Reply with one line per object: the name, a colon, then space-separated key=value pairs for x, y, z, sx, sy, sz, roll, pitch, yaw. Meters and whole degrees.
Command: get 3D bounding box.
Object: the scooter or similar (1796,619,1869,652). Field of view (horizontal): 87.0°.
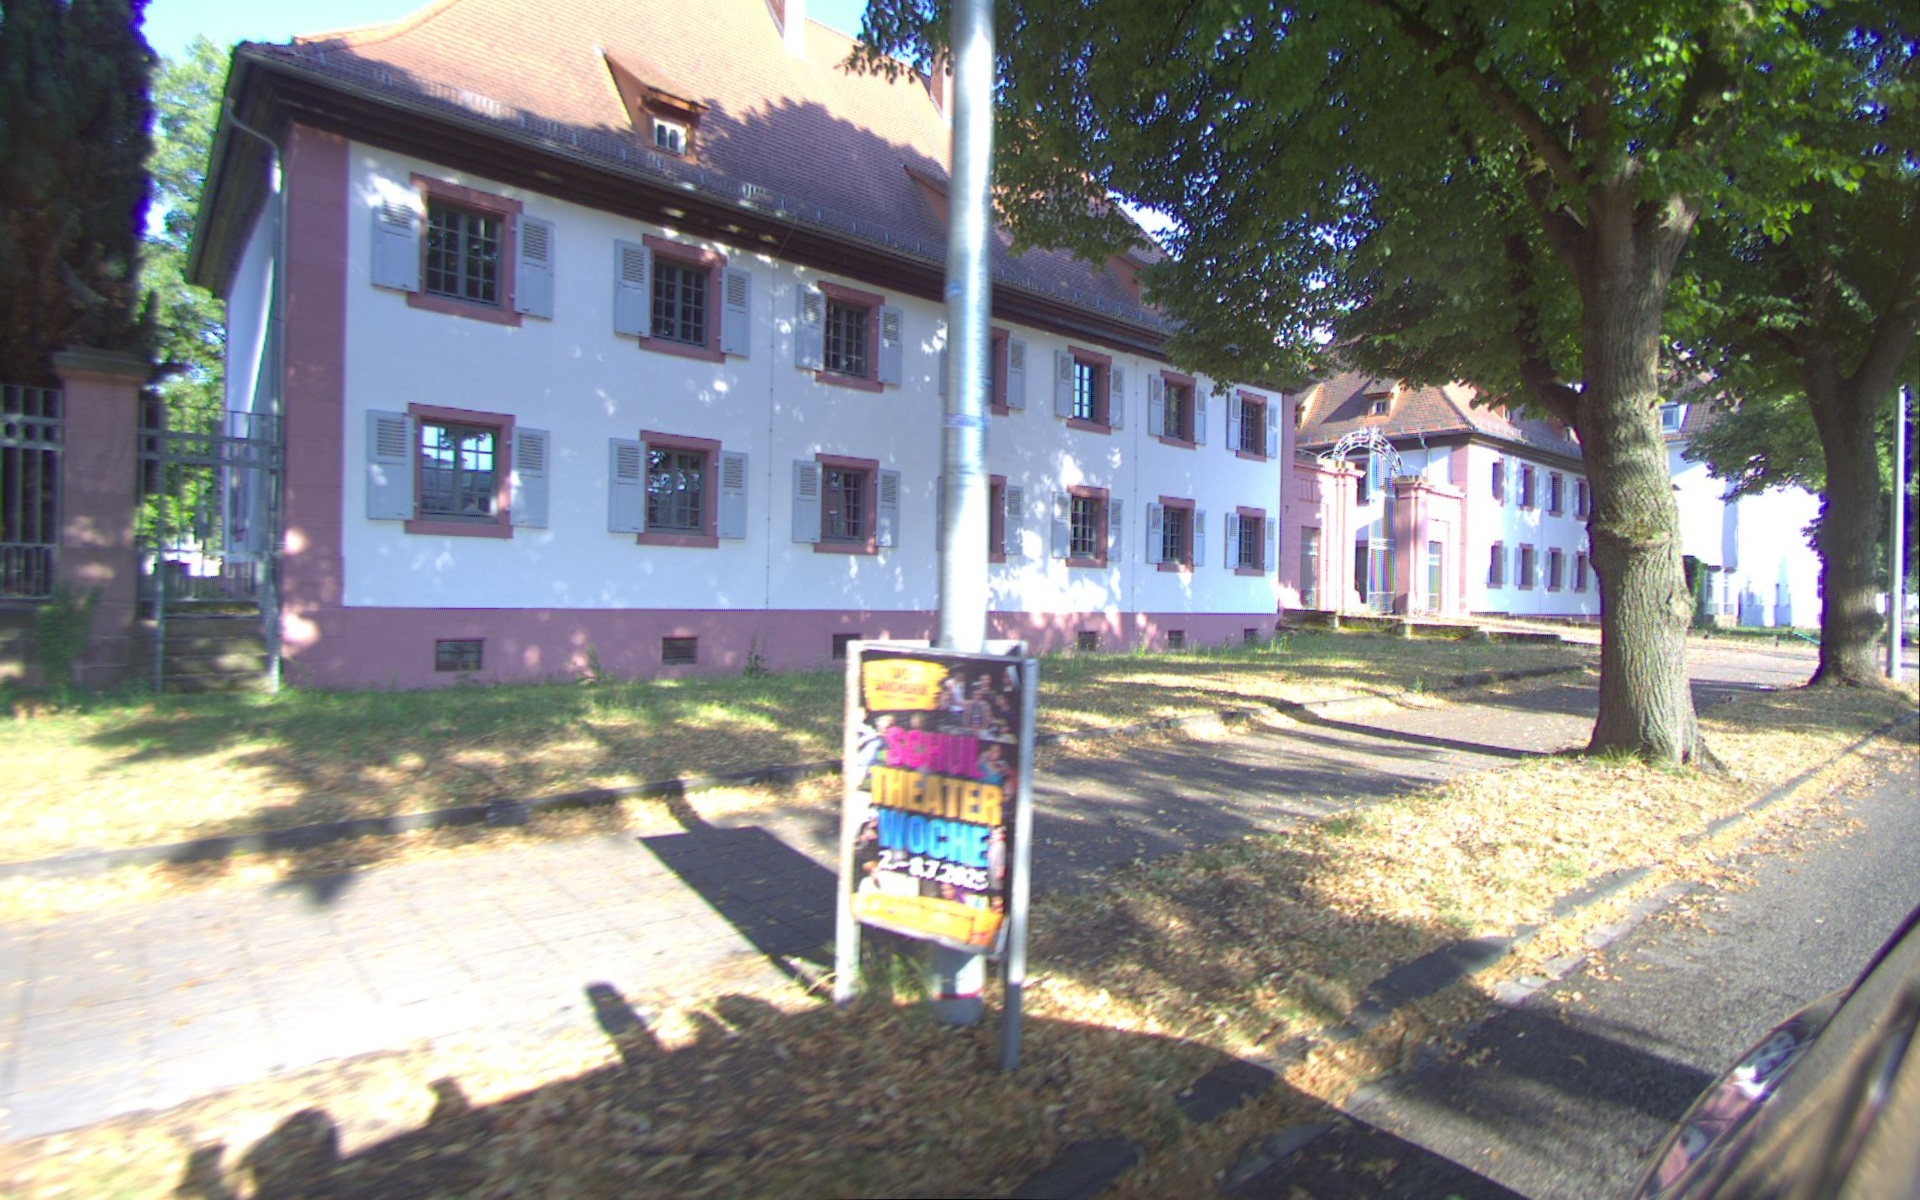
scooter or similar: x=25.735 y=1.036 z=29.867 sx=1.042 sy=0.553 sz=1.236 roll=-1 pitch=19 yaw=-28
